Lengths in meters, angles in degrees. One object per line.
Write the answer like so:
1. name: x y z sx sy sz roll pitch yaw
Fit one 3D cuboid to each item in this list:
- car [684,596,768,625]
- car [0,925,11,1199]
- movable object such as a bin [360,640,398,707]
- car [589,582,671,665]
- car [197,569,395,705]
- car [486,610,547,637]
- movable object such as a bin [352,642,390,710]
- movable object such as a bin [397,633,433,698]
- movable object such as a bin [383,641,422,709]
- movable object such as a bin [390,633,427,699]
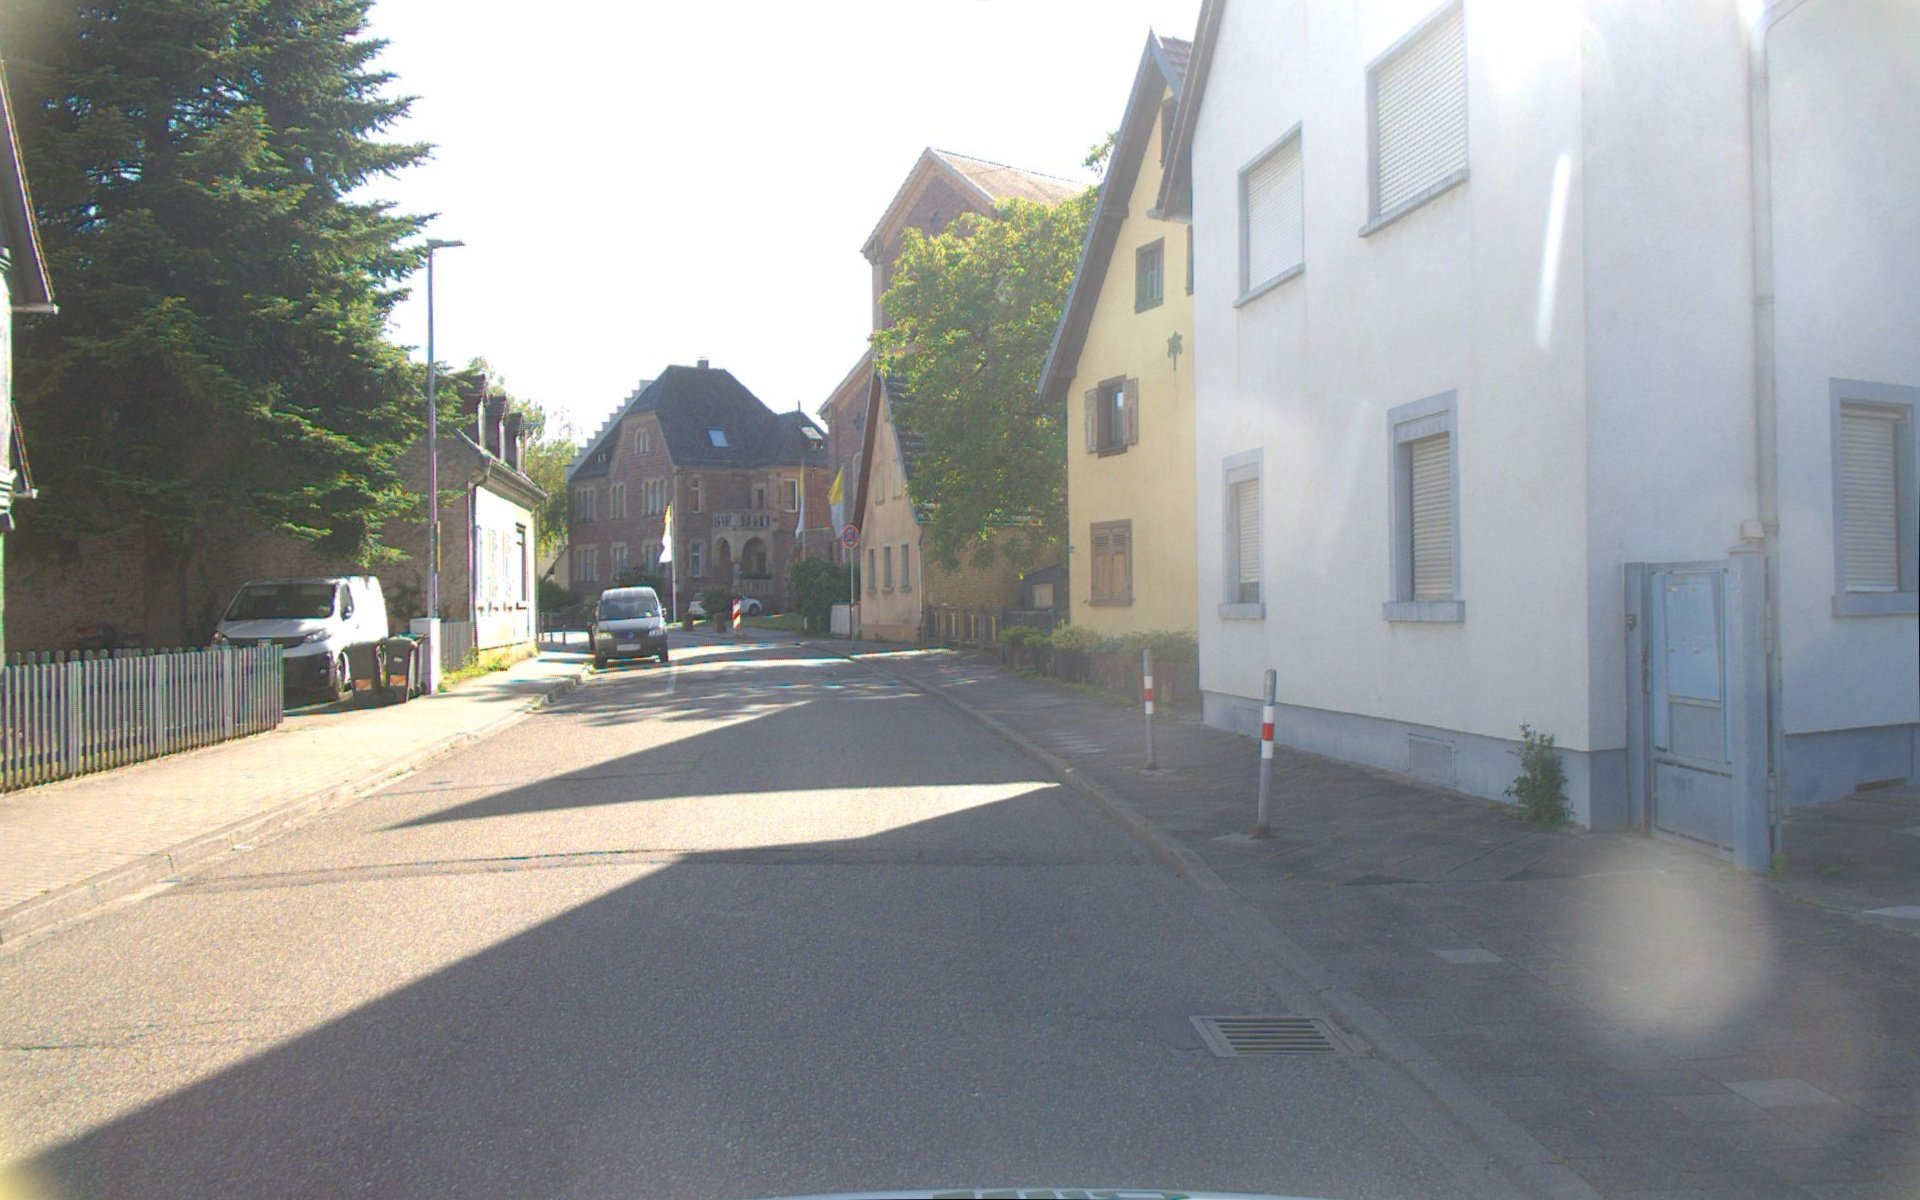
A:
1. car: -12.465 0.565 88.271 4.210 1.425 1.692 -1 0 -41
2. car: -2.634 0.718 1.571 1.541 1.573 2.967 -2 0 5
3. movable object such as a bin: -8.701 1.098 24.773 0.412 0.940 0.490 -2 2 -8
4. car: -8.104 0.536 40.725 1.793 1.845 4.190 -3 1 -11
5. car: -10.761 0.511 27.195 1.904 1.989 5.131 -1 1 -9
6. car: -24.181 1.277 90.083 1.701 1.425 4.188 -1 0 -39
7. movable object such as a bin: -8.639 1.116 24.271 0.412 0.940 0.490 -2 2 -8
8. movable object such as a bin: -8.344 0.995 25.343 0.412 0.940 0.490 -2 2 -8
9. movable object such as a bin: -8.201 1.094 24.338 0.431 0.940 0.490 -2 2 -8
10. movable object such as a bin: -8.279 0.983 24.838 0.420 0.940 0.490 -2 2 -8
